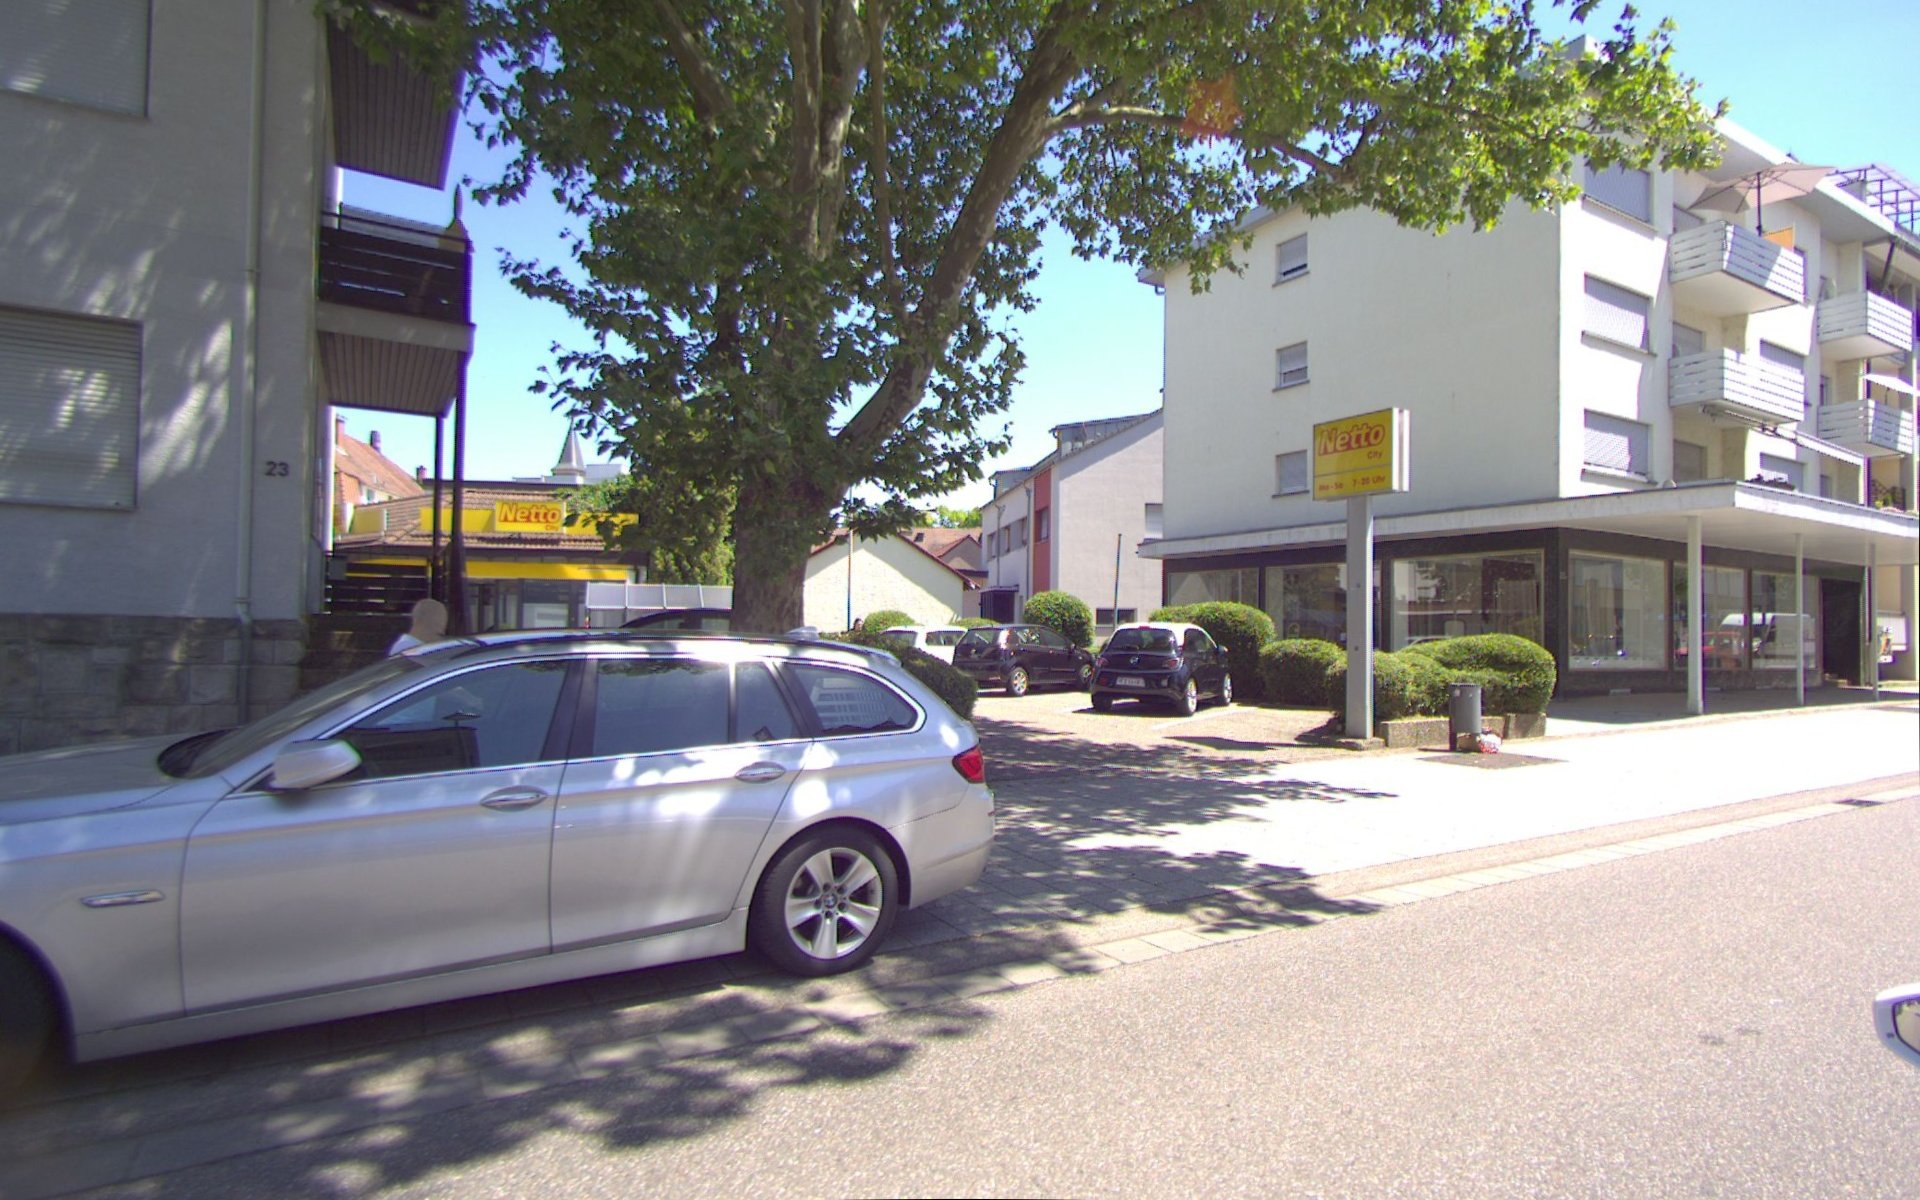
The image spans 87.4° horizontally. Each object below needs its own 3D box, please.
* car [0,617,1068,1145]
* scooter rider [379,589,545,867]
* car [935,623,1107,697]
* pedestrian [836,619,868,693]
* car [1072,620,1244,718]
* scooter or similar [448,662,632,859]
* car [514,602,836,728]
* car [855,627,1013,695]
[{"bbox_3d":[-2.140,0.842,4.384,5.094,1.471,1.970,1,-1,-32],"label":"car"},{"bbox_3d":[-3.092,0.743,6.245,0.867,1.596,0.585,1,1,-30],"label":"scooter rider"},{"bbox_3d":[1.419,1.281,22.045,1.726,1.481,3.909,-2,-3,42],"label":"car"},{"bbox_3d":[-2.446,1.259,22.836,0.705,1.648,0.685,0,-1,-6],"label":"pedestrian"},{"bbox_3d":[3.568,1.123,17.527,1.863,1.506,3.990,-1,-2,29],"label":"car"},{"bbox_3d":[-2.715,0.983,6.483,1.016,1.113,0.660,1,0,-30],"label":"scooter or similar"},{"bbox_3d":[-3.900,0.878,14.007,4.041,1.565,1.805,1,-2,-18],"label":"car"},{"bbox_3d":[-0.517,1.390,23.583,1.746,1.453,4.026,-3,-3,33],"label":"car"}]
